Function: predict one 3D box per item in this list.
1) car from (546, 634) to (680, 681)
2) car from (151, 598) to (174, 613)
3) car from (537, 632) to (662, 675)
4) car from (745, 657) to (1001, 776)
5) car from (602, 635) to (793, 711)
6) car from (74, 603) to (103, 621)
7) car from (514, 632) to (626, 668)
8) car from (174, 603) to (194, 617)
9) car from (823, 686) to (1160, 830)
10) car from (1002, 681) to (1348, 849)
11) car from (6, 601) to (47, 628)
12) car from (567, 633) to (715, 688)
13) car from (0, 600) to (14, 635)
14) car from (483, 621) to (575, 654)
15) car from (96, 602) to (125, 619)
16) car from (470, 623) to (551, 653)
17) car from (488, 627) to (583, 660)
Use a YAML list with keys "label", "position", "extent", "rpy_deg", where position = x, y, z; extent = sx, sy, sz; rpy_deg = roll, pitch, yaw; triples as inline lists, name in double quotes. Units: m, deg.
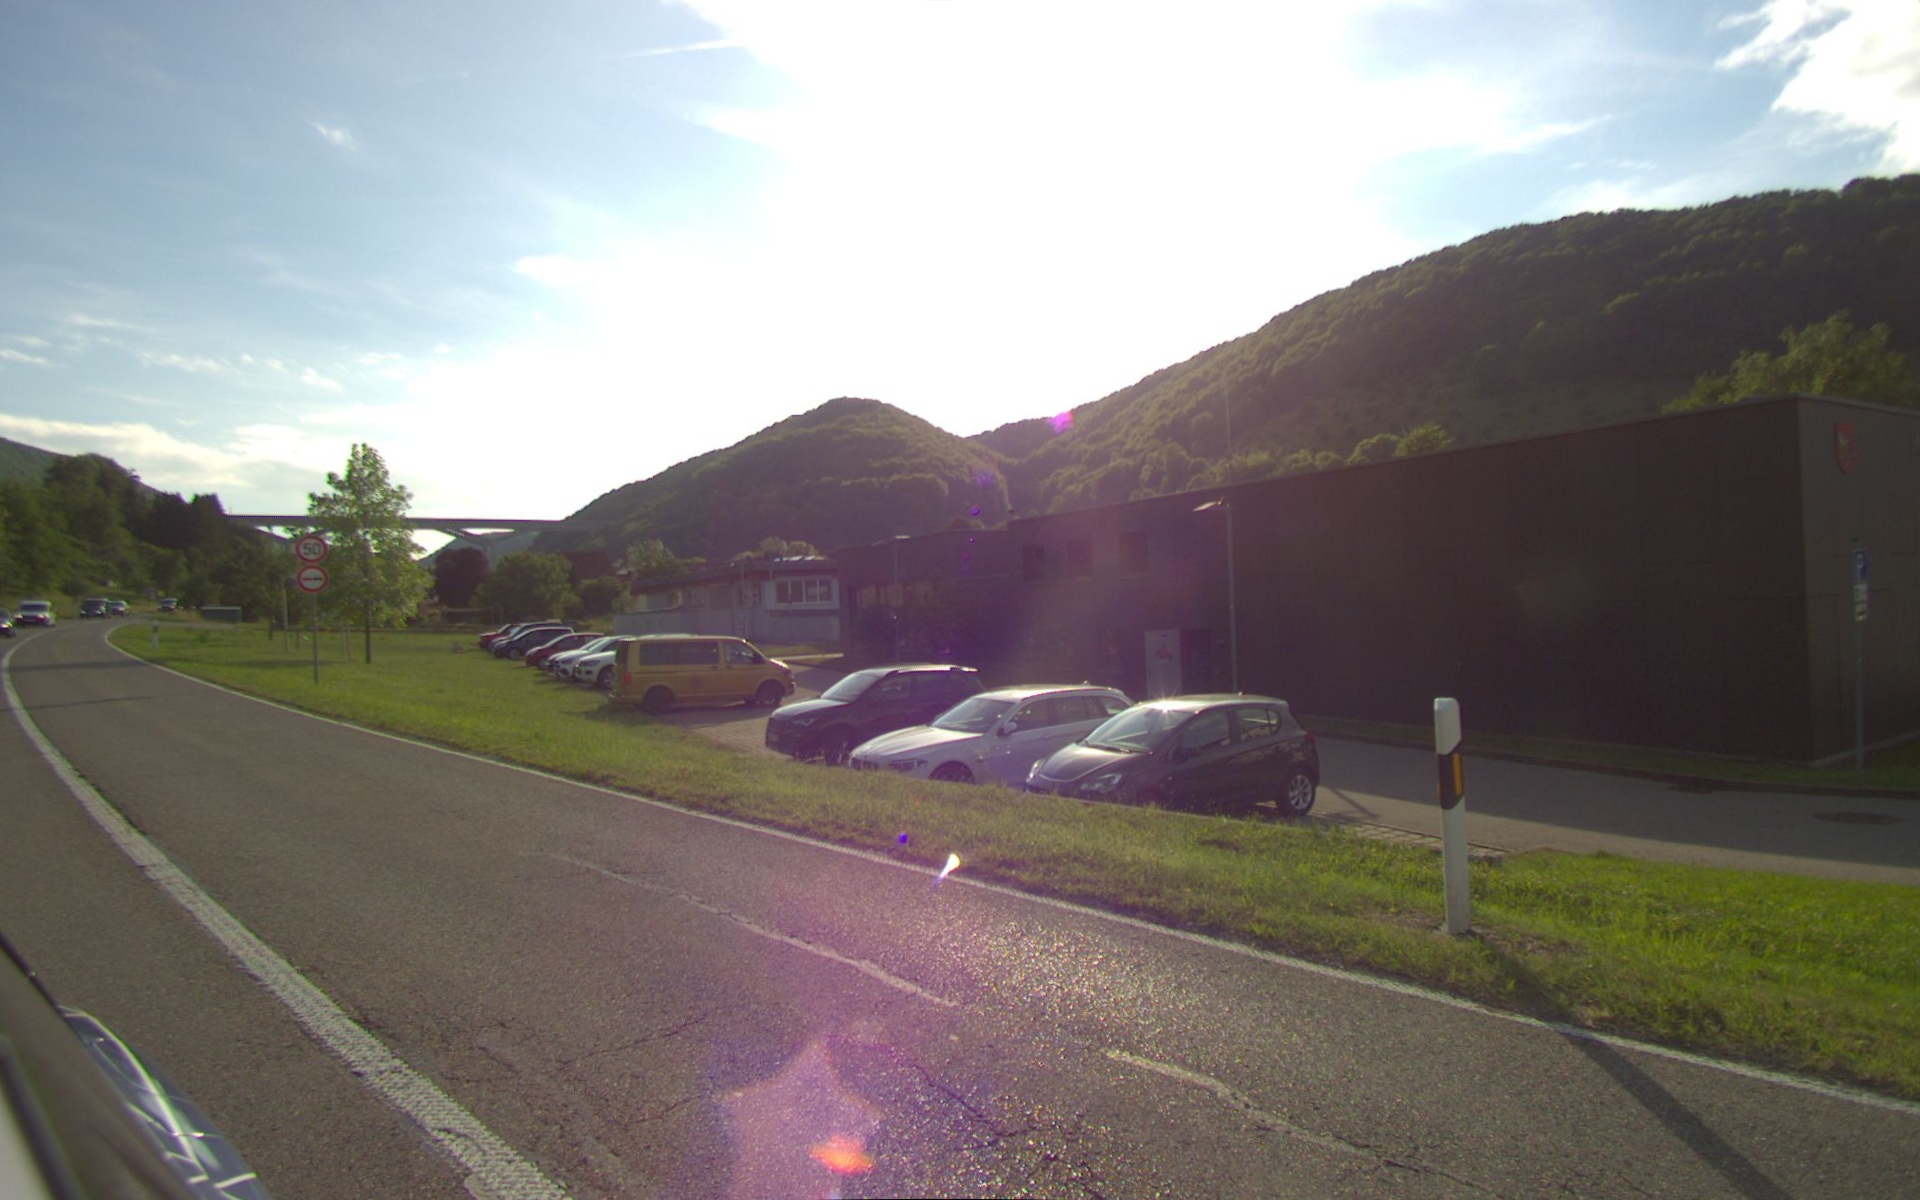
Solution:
- label: "car"
  position: [-12.790, 2.080, 37.329]
  extent: [4.370, 1.599, 2.006]
  rpy_deg: [1, -1, -29]
- label: "car"
  position: [-104.860, 0.657, 133.074]
  extent: [1.880, 1.918, 4.012]
  rpy_deg: [0, 0, -31]
- label: "car"
  position: [-14.357, 2.102, 40.329]
  extent: [4.371, 1.595, 2.006]
  rpy_deg: [1, -1, -30]
- label: "car"
  position: [-1.542, 2.007, 18.435]
  extent: [4.225, 1.650, 1.918]
  rpy_deg: [-1, 0, -34]
- label: "car"
  position: [-6.984, 1.861, 27.013]
  extent: [4.583, 1.827, 2.006]
  rpy_deg: [1, -1, -29]
- label: "car"
  position: [-81.716, 1.161, 94.903]
  extent: [1.652, 1.659, 3.354]
  rpy_deg: [0, -1, -34]
- label: "car"
  position: [-17.153, 2.178, 44.536]
  extent: [4.370, 1.463, 2.006]
  rpy_deg: [1, -1, -29]
- label: "car"
  position: [-110.765, 1.384, 144.493]
  extent: [1.880, 1.918, 4.011]
  rpy_deg: [0, 0, -33]
- label: "car"
  position: [0.529, 2.126, 14.581]
  extent: [4.576, 1.508, 1.918]
  rpy_deg: [1, -1, -33]
- label: "car"
  position: [2.669, 1.880, 12.427]
  extent: [3.931, 1.546, 1.839]
  rpy_deg: [1, -1, -30]
- label: "car"
  position: [-63.547, 0.982, 68.930]
  extent: [1.771, 1.749, 4.291]
  rpy_deg: [0, -1, -39]
- label: "car"
  position: [-10.824, 2.014, 34.418]
  extent: [4.476, 1.714, 2.006]
  rpy_deg: [1, -1, -29]
- label: "car"
  position: [-47.579, 0.891, 49.467]
  extent: [1.885, 1.698, 4.004]
  rpy_deg: [0, -1, -42]
- label: "car"
  position: [-24.494, 2.096, 57.582]
  extent: [4.595, 1.776, 2.006]
  rpy_deg: [1, -1, -30]
- label: "car"
  position: [-89.366, 1.111, 106.466]
  extent: [1.967, 1.730, 4.010]
  rpy_deg: [0, -1, -35]
- label: "car"
  position: [-27.516, 2.288, 61.980]
  extent: [4.370, 1.733, 2.006]
  rpy_deg: [1, -1, -30]
- label: "car"
  position: [-22.334, 2.256, 53.267]
  extent: [4.371, 1.595, 2.006]
  rpy_deg: [0, -1, -30]
